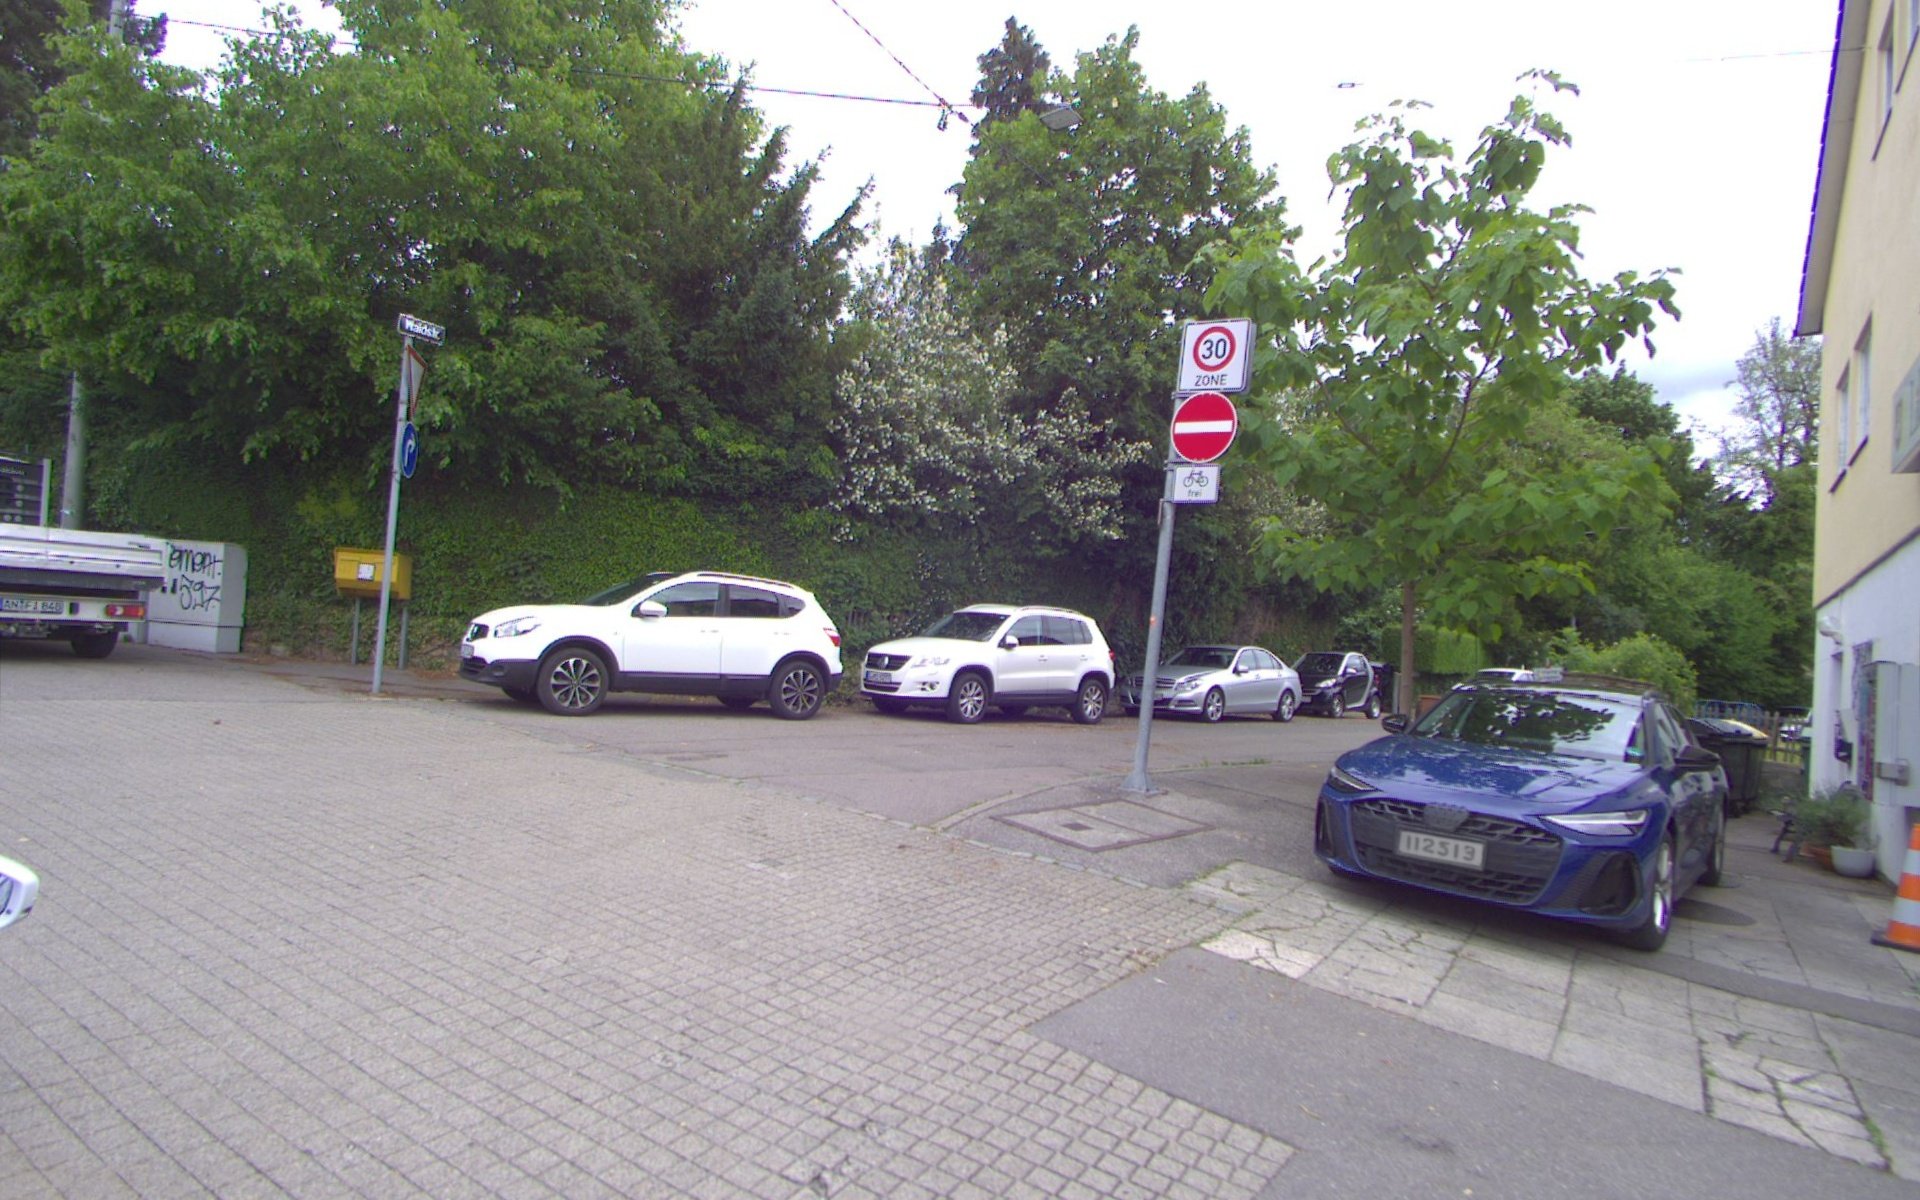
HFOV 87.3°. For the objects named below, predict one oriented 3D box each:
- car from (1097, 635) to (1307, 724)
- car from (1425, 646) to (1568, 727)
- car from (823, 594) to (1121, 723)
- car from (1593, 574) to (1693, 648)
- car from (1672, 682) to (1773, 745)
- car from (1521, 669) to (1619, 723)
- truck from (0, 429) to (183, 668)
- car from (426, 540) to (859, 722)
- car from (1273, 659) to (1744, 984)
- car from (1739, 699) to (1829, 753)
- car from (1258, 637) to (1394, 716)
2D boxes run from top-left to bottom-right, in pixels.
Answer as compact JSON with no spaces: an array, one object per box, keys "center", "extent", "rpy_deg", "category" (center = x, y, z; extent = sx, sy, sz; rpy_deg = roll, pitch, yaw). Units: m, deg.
[{"center":[4.638,1.523,18.896],"extent":[1.976,1.462,4.273],"rpy_deg":[-1,-5,43],"category":"car"},{"center":[15.653,2.534,29.288],"extent":[3.968,1.727,1.981],"rpy_deg":[10,-3,-35],"category":"car"},{"center":[0.283,0.895,14.624],"extent":[1.975,1.484,4.049],"rpy_deg":[6,-1,45],"category":"car"},{"center":[23.064,0.404,33.920],"extent":[1.975,2.038,3.976],"rpy_deg":[6,0,45],"category":"car"},{"center":[30.013,4.470,39.551],"extent":[3.966,2.037,1.981],"rpy_deg":[8,-1,-36],"category":"car"},{"center":[19.480,3.079,32.097],"extent":[3.359,1.441,1.654],"rpy_deg":[7,0,-41],"category":"car"},{"center":[-11.460,-0.649,11.128],"extent":[5.780,2.221,2.189],"rpy_deg":[4,-2,28],"category":"truck"},{"center":[-3.506,0.433,11.519],"extent":[4.221,1.612,1.968],"rpy_deg":[7,-3,-39],"category":"car"},{"center":[4.080,1.267,7.033],"extent":[1.812,1.343,4.488],"rpy_deg":[6,-1,42],"category":"car"},{"center":[34.690,5.314,42.314],"extent":[3.595,1.764,1.981],"rpy_deg":[9,-2,-36],"category":"car"},{"center":[8.628,1.806,23.630],"extent":[1.844,1.549,2.903],"rpy_deg":[6,0,45],"category":"car"}]
